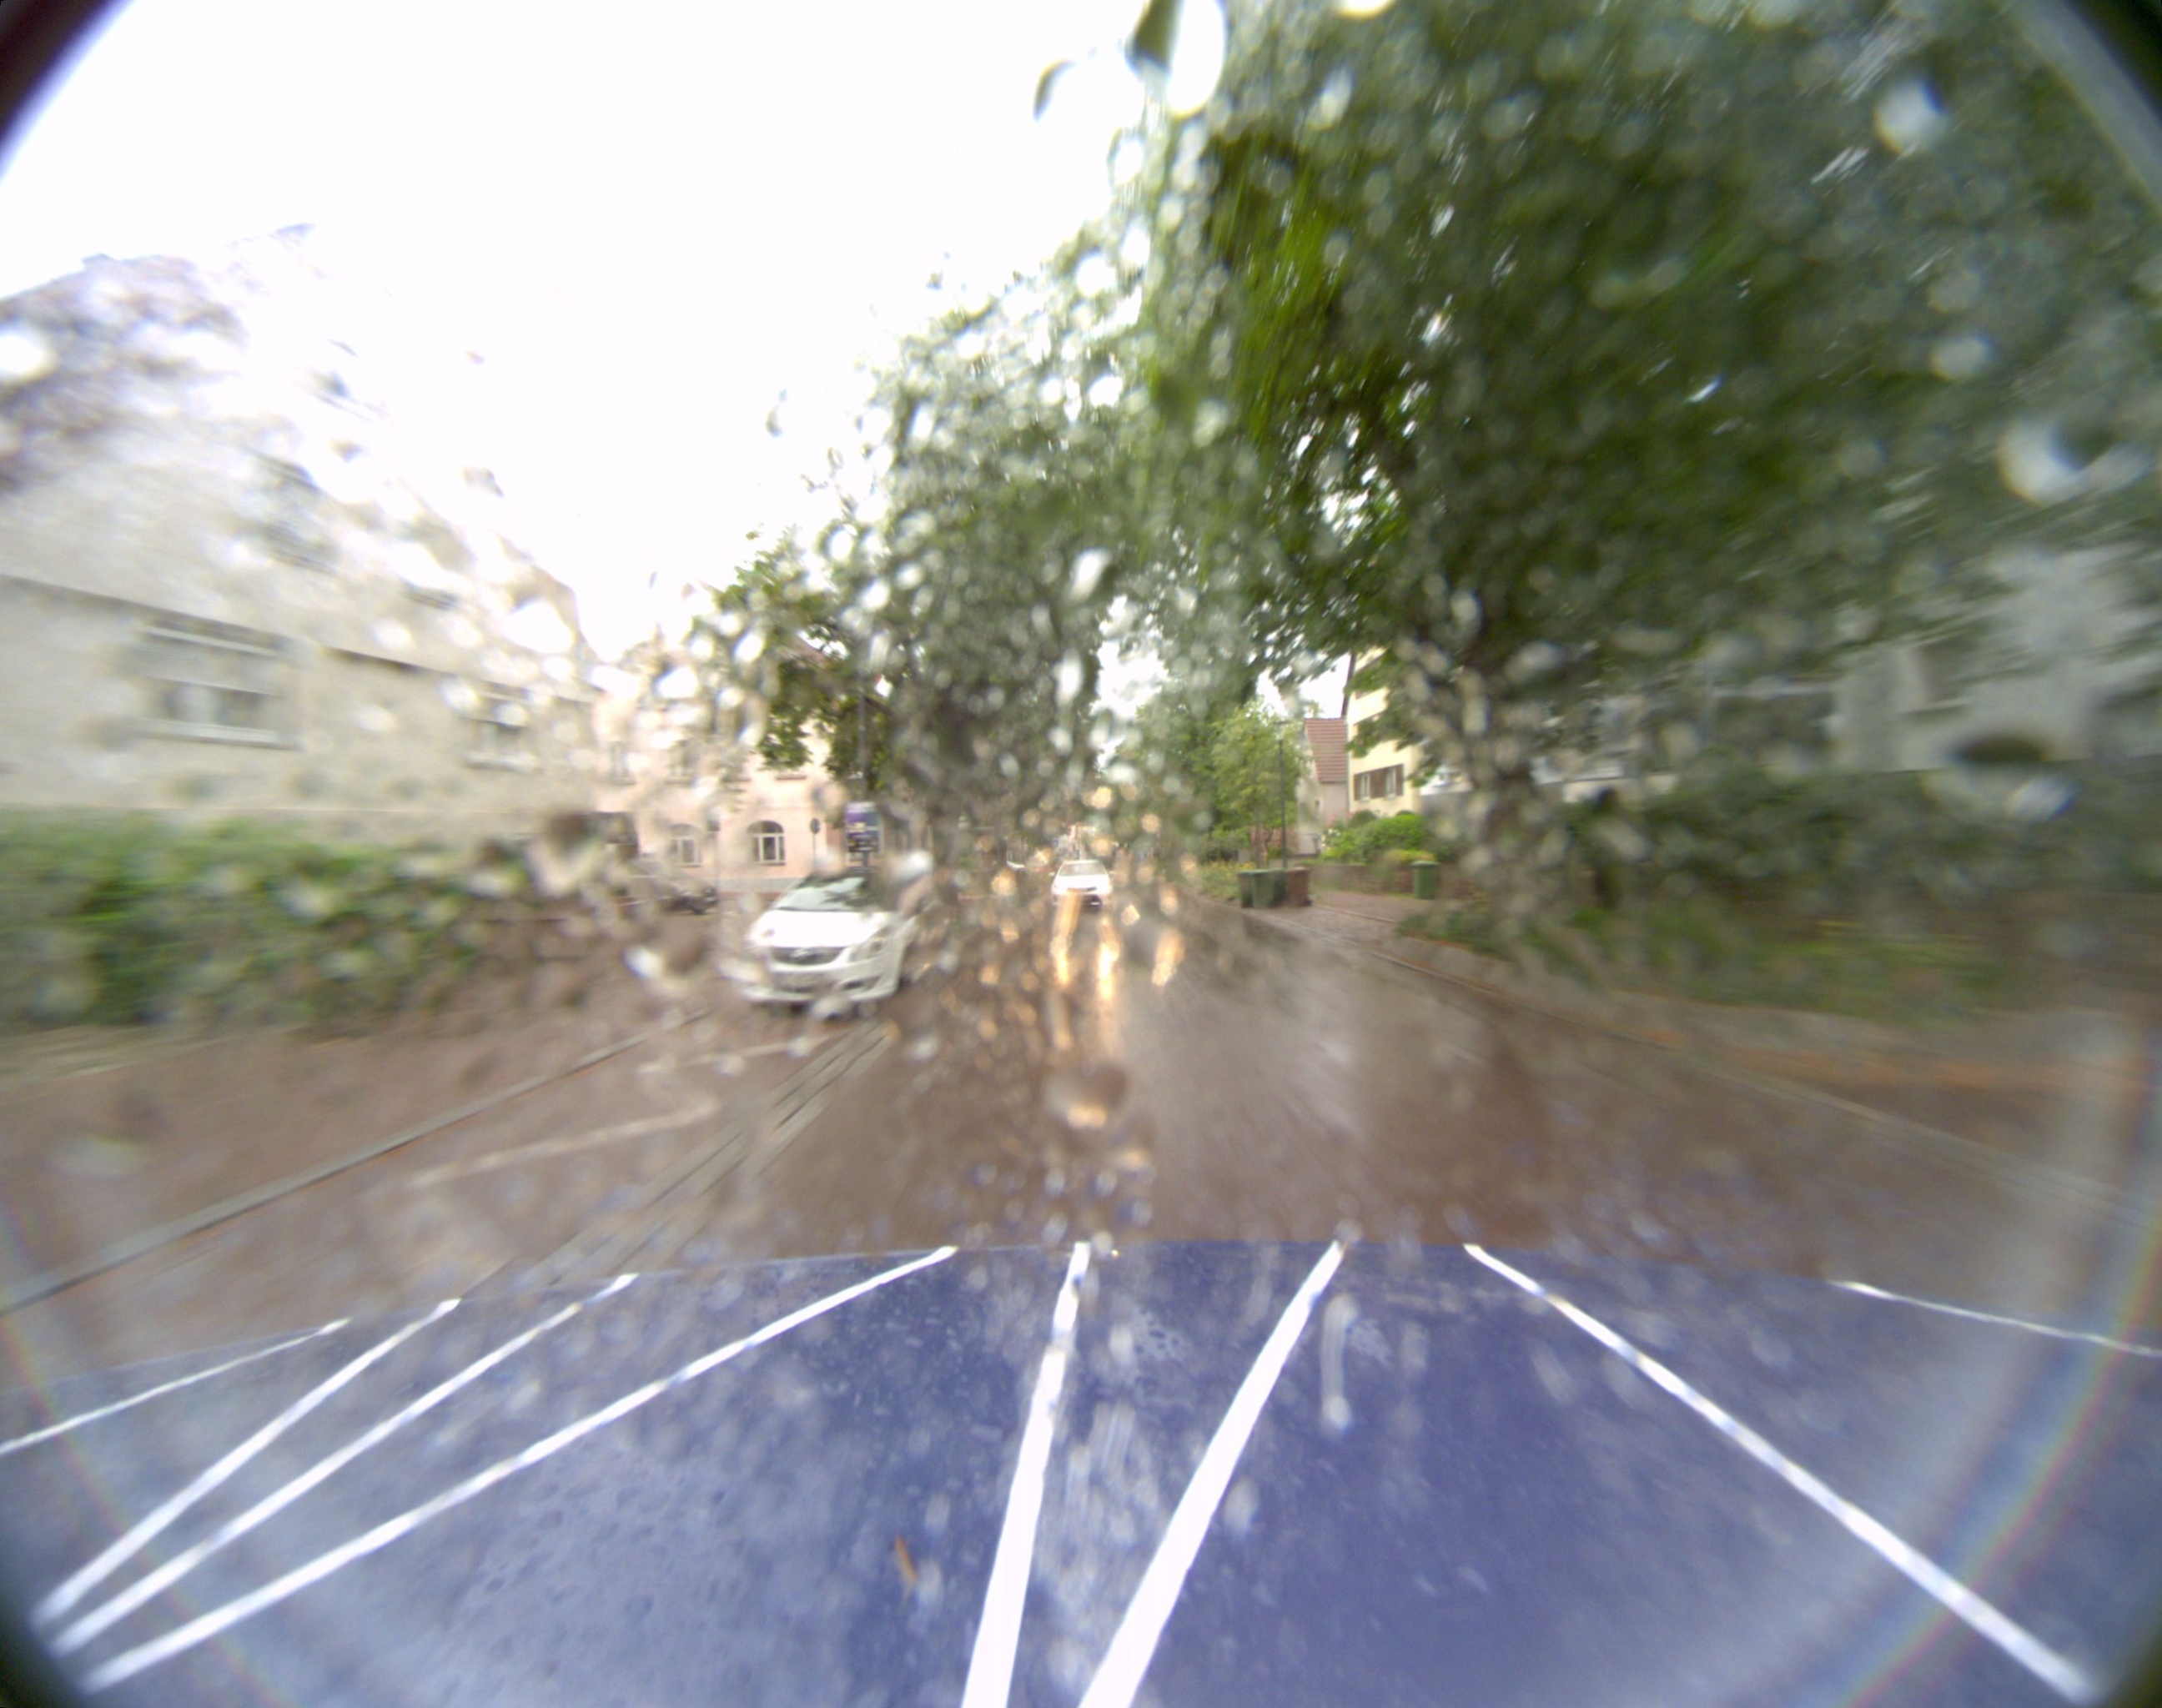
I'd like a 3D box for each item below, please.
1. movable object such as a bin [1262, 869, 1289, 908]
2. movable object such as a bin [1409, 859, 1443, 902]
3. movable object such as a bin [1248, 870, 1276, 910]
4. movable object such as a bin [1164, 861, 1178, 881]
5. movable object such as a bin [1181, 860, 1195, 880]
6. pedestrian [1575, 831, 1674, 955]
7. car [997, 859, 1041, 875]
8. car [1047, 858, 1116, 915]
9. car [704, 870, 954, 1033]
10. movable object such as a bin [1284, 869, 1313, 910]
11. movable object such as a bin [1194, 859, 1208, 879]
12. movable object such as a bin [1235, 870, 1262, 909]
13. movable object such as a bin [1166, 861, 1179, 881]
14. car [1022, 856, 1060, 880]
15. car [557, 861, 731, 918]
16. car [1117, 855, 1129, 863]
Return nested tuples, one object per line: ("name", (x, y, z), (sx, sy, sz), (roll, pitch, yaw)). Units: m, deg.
("movable object such as a bin", (5.568, 0.970, 21.747), (0.665, 1.068, 0.596), (-1, 2, 5))
("movable object such as a bin", (9.591, 0.731, 21.142), (0.664, 1.126, 0.659), (-2, 1, 3))
("movable object such as a bin", (5.022, 1.004, 21.121), (0.665, 1.061, 0.596), (-1, 2, 5))
("movable object such as a bin", (5.038, 0.931, 42.601), (0.629, 1.053, 0.565), (-4, 1, -1))
("movable object such as a bin", (5.918, 0.865, 41.943), (0.618, 1.053, 0.569), (-4, 1, -1))
("pedestrian", (7.348, 0.506, 10.319), (0.651, 1.585, 0.932), (-2, 1, 1))
("car", (-6.263, 1.270, 76.684), (4.270, 1.451, 1.829), (-2, 0, -1))
("car", (0.105, 0.911, 22.953), (1.828, 1.451, 3.876), (-2, 0, 3))
("car", (-2.681, 0.960, 9.042), (1.685, 1.391, 3.794), (-1, 1, 0))
("movable object such as a bin", (6.009, 0.973, 20.996), (0.665, 1.068, 0.596), (-1, 2, 5))
("movable object such as a bin", (6.600, 0.842, 41.954), (0.618, 1.053, 0.561), (-4, 1, -1))
("movable object such as a bin", (4.789, 1.007, 21.769), (0.665, 1.068, 0.596), (-1, 2, 5))
("movable object such as a bin", (5.066, 0.926, 41.935), (0.585, 1.071, 0.570), (-4, 1, -1))
("car", (-2.523, 0.890, 49.028), (1.896, 1.460, 4.824), (-1, 0, 3))
("car", (-12.939, 1.017, 22.651), (4.189, 1.575, 1.841), (0, 1, 7))
("car", (7.414, 0.933, 133.640), (1.828, 1.353, 3.874), (-2, 0, -1))
